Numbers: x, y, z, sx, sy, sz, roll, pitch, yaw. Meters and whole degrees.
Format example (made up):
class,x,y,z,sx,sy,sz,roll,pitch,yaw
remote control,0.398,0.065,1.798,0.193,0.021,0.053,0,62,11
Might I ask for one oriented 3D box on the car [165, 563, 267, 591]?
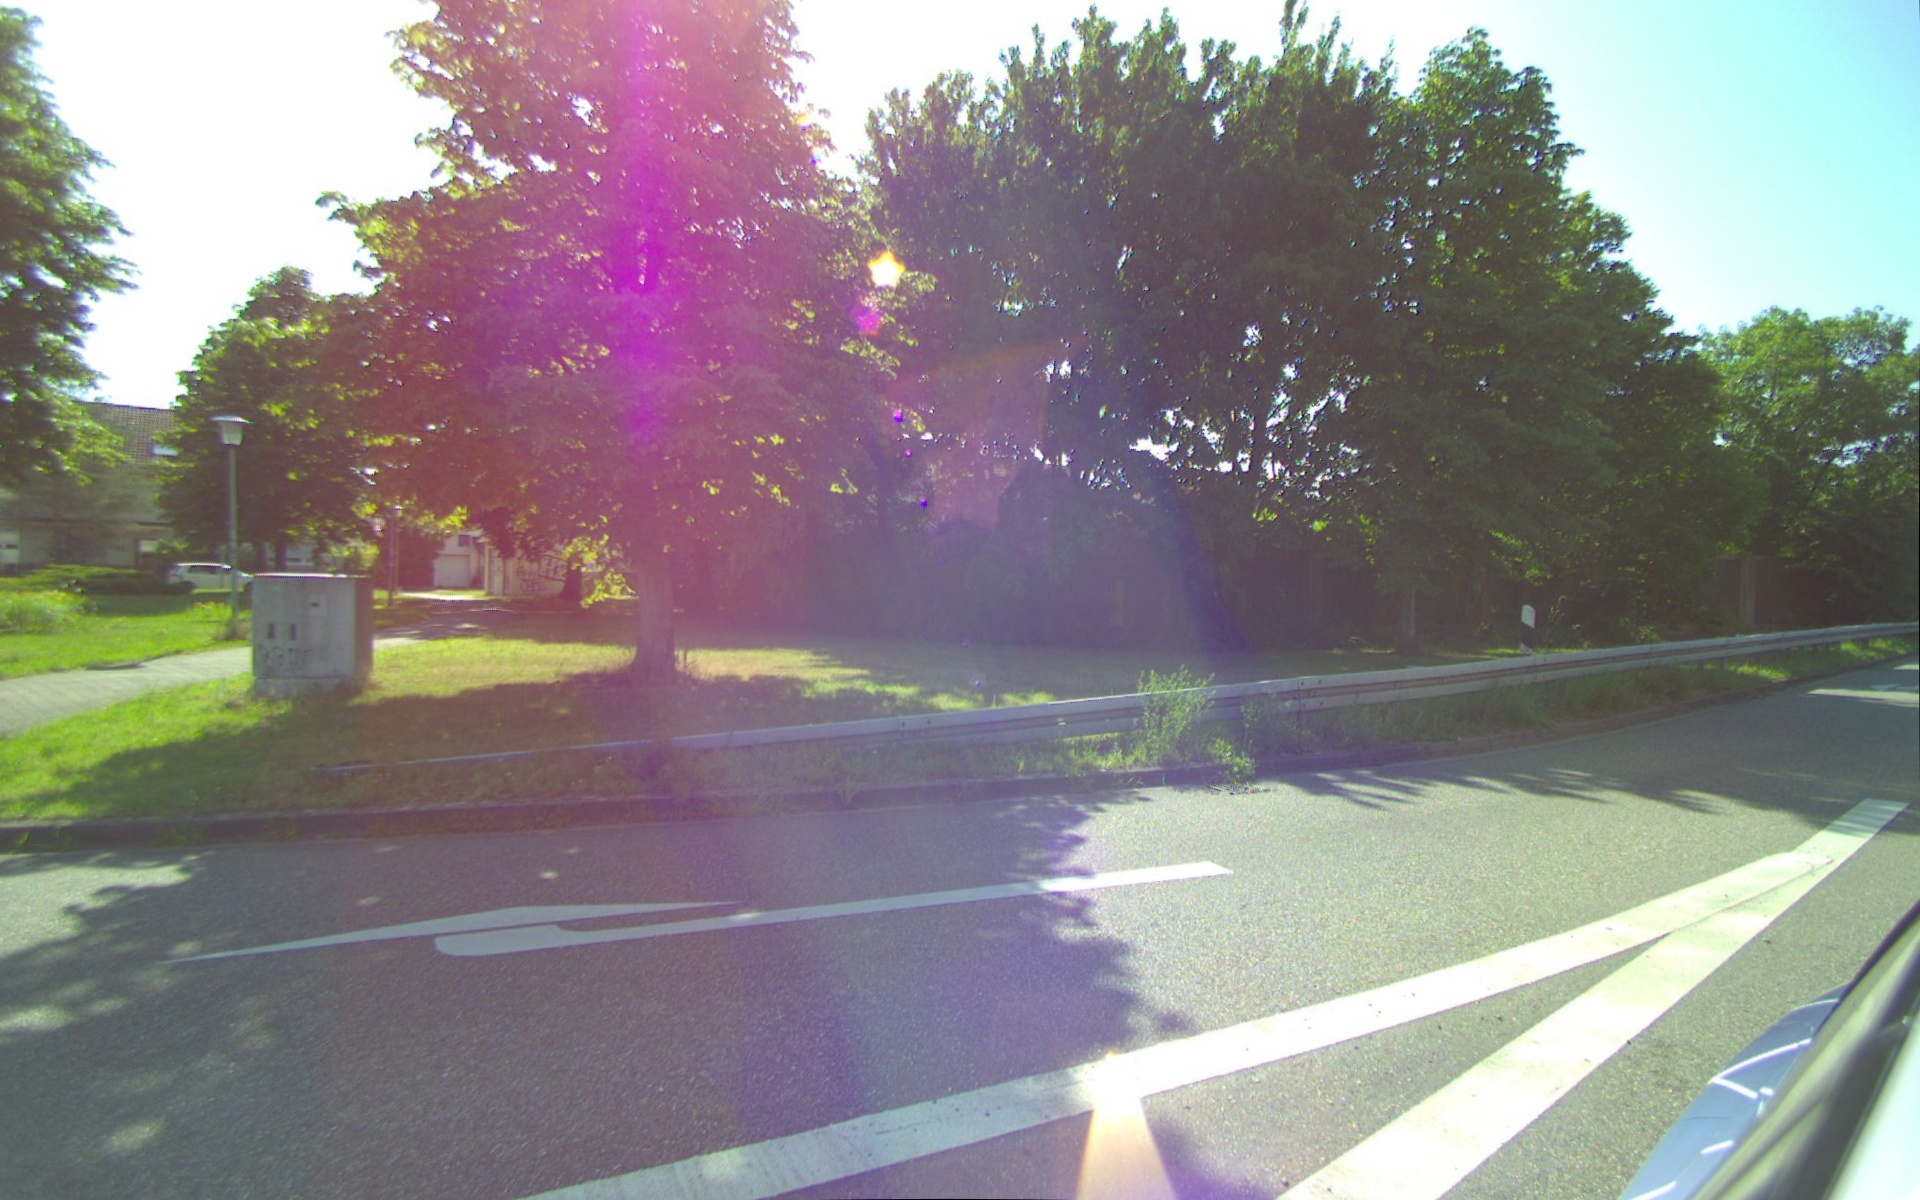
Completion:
class,x,y,z,sx,sy,sz,roll,pitch,yaw
car,-35.934,-1.116,48.916,3.927,1.304,1.732,0,2,-38
